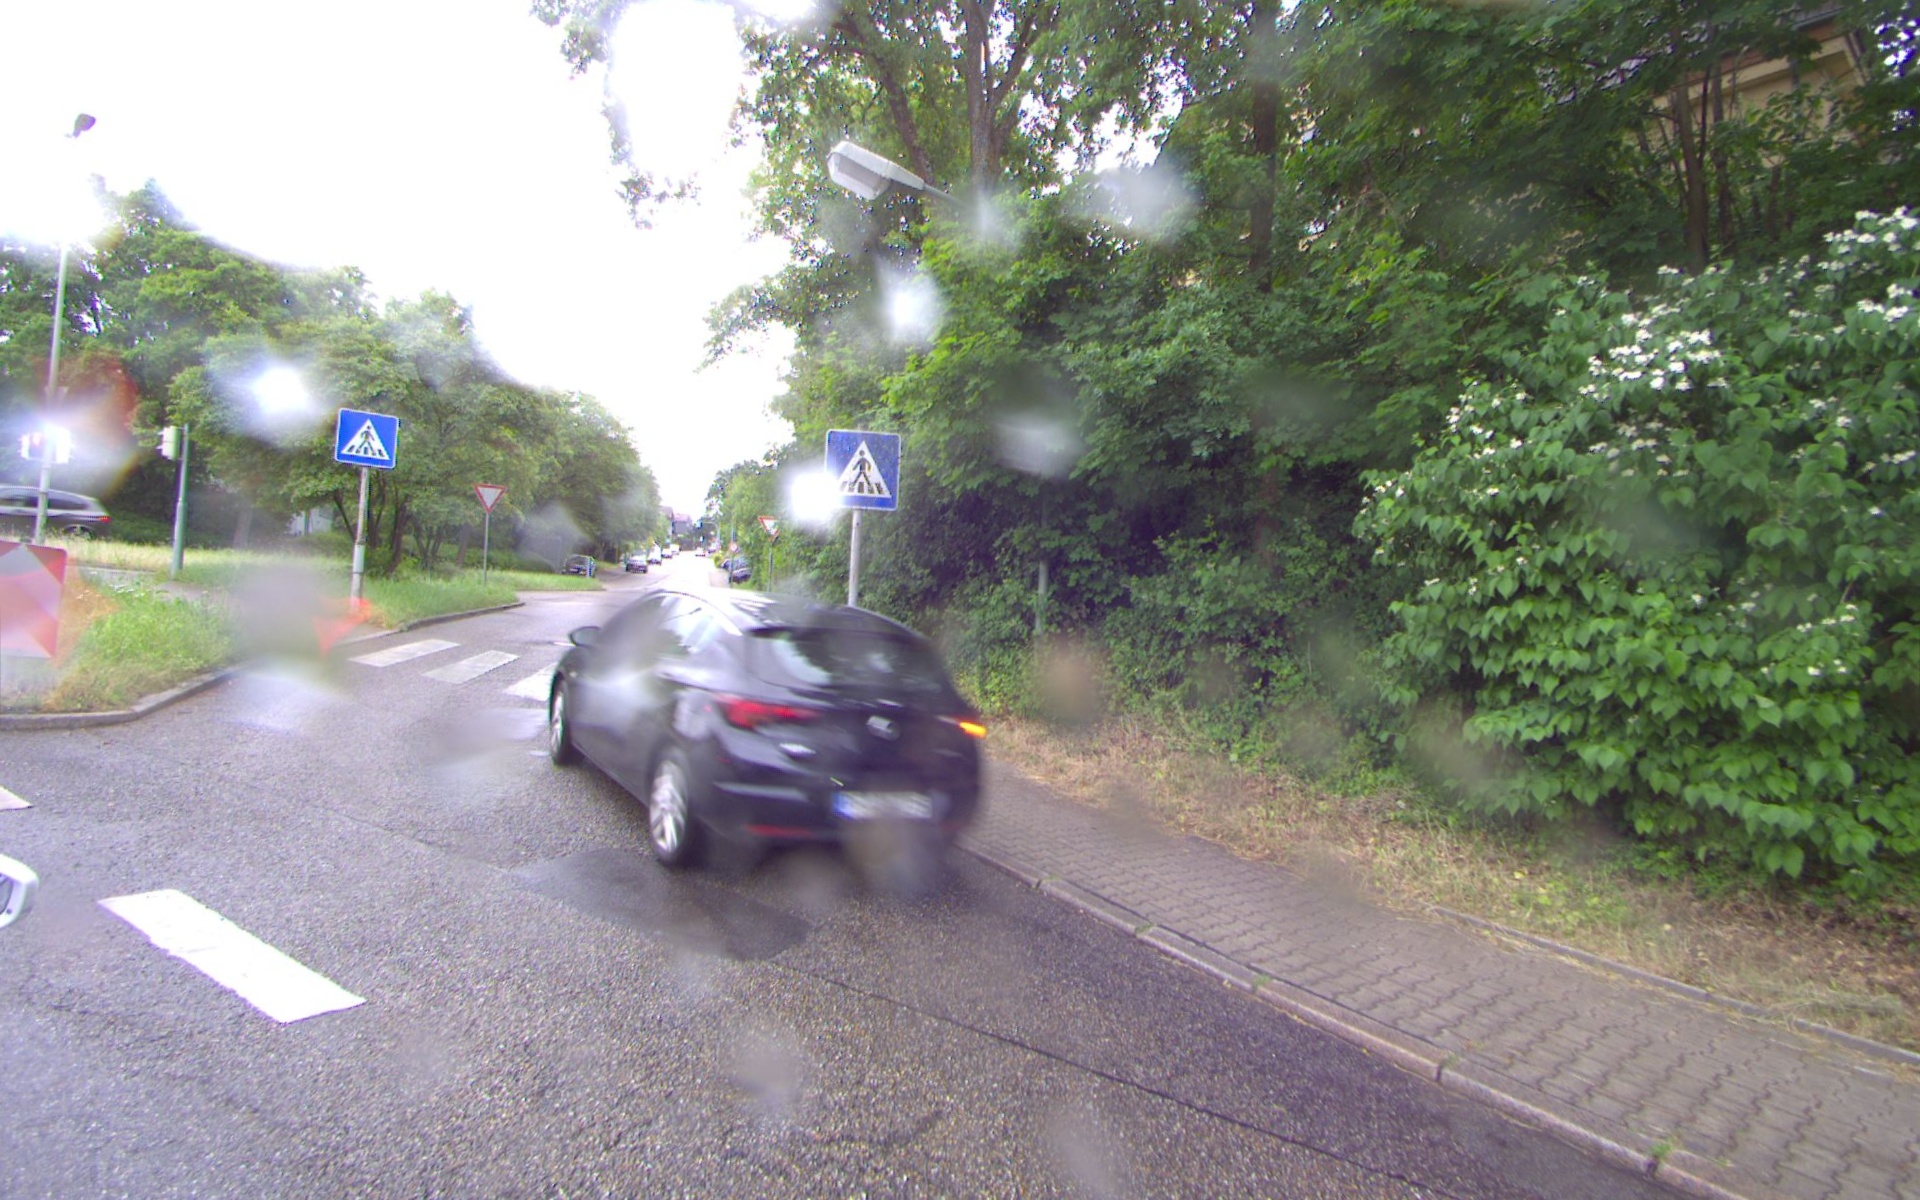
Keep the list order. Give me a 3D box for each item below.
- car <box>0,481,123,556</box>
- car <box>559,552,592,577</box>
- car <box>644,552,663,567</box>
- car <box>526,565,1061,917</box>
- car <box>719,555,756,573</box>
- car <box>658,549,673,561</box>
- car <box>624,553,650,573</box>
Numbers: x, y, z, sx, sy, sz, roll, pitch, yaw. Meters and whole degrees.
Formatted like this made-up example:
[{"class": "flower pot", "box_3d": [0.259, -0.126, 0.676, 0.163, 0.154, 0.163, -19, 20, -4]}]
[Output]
[{"class": "car", "box_3d": [-25.805, -2.319, 26.962, 1.963, 1.738, 4.714, 7, 1, 22]}, {"class": "car", "box_3d": [-25.848, -2.394, 67.735, 1.651, 1.387, 3.477, 6, 0, -16]}, {"class": "car", "box_3d": [-37.651, -4.964, 123.634, 1.968, 1.463, 4.277, 7, -2, -19]}, {"class": "car", "box_3d": [-1.418, 0.684, 6.660, 1.802, 1.459, 4.125, 9, -2, -34]}, {"class": "car", "box_3d": [-25.716, -4.162, 116.083, 3.940, 1.594, 1.766, 5, 1, -18]}, {"class": "car", "box_3d": [-46.703, -7.132, 159.490, 1.877, 1.413, 4.150, 7, -2, -20]}, {"class": "car", "box_3d": [-30.057, -3.435, 93.726, 1.874, 1.467, 4.285, 7, -2, -13]}]
